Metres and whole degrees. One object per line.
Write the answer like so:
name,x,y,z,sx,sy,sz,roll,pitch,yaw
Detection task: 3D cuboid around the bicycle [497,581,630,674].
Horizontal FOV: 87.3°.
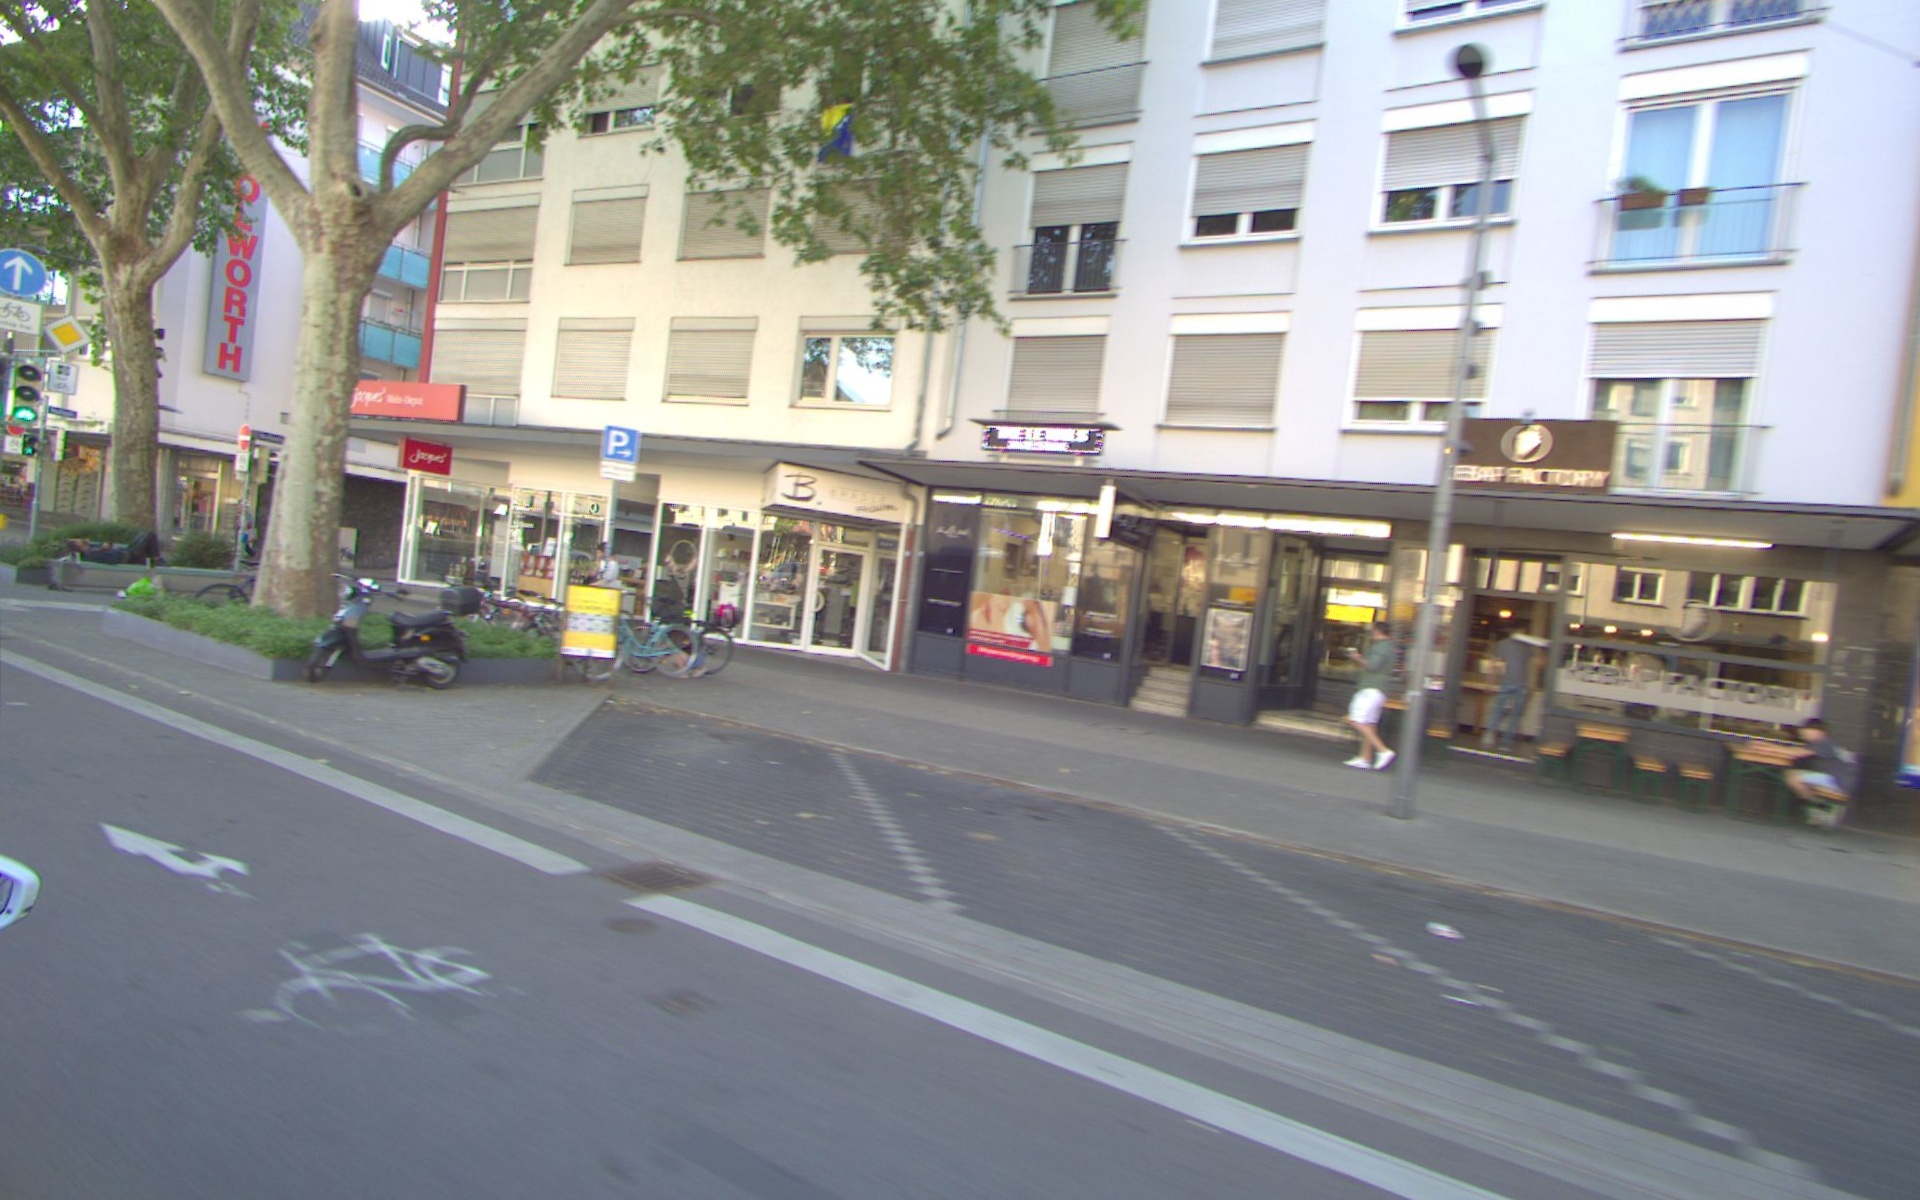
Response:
bicycle,-5.668,0.378,14.501,0.660,1.205,1.788,6,3,23

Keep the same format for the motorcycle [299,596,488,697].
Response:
motorcycle,-5.717,0.481,10.247,0.535,0.903,1.573,7,0,28

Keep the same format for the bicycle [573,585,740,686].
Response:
bicycle,-4.207,0.515,14.093,0.818,1.248,2.079,7,1,36

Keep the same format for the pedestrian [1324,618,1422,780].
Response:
pedestrian,5.008,1.165,12.199,0.776,1.816,0.705,7,4,37

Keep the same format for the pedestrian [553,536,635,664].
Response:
pedestrian,-5.767,0.003,15.869,0.809,1.900,0.645,7,1,18

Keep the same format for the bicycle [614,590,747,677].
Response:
bicycle,-4.126,0.512,14.972,0.668,1.169,1.761,7,2,40

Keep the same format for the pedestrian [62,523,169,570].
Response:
pedestrian,-14.167,-0.888,16.900,0.474,0.596,1.256,7,-1,29

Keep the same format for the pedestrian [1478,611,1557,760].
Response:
pedestrian,7.638,1.156,13.812,0.724,1.900,0.912,7,1,28

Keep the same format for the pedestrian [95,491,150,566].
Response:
pedestrian,-21.954,-1.874,26.382,0.751,1.816,0.781,7,1,32

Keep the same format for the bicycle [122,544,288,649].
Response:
bicycle,-9.618,-0.015,12.868,0.453,1.117,1.513,7,-3,32

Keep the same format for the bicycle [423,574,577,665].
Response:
bicycle,-6.688,0.288,14.702,0.701,1.205,1.872,7,3,39

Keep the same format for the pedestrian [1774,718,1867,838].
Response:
pedestrian,9.424,1.932,11.037,0.615,1.172,0.418,7,1,35

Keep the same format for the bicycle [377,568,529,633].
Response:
bicycle,-7.639,0.027,15.228,0.701,0.775,1.874,7,0,39

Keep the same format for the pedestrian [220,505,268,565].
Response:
pedestrian,-22.113,-2.003,31.077,0.820,1.701,0.749,9,2,25
